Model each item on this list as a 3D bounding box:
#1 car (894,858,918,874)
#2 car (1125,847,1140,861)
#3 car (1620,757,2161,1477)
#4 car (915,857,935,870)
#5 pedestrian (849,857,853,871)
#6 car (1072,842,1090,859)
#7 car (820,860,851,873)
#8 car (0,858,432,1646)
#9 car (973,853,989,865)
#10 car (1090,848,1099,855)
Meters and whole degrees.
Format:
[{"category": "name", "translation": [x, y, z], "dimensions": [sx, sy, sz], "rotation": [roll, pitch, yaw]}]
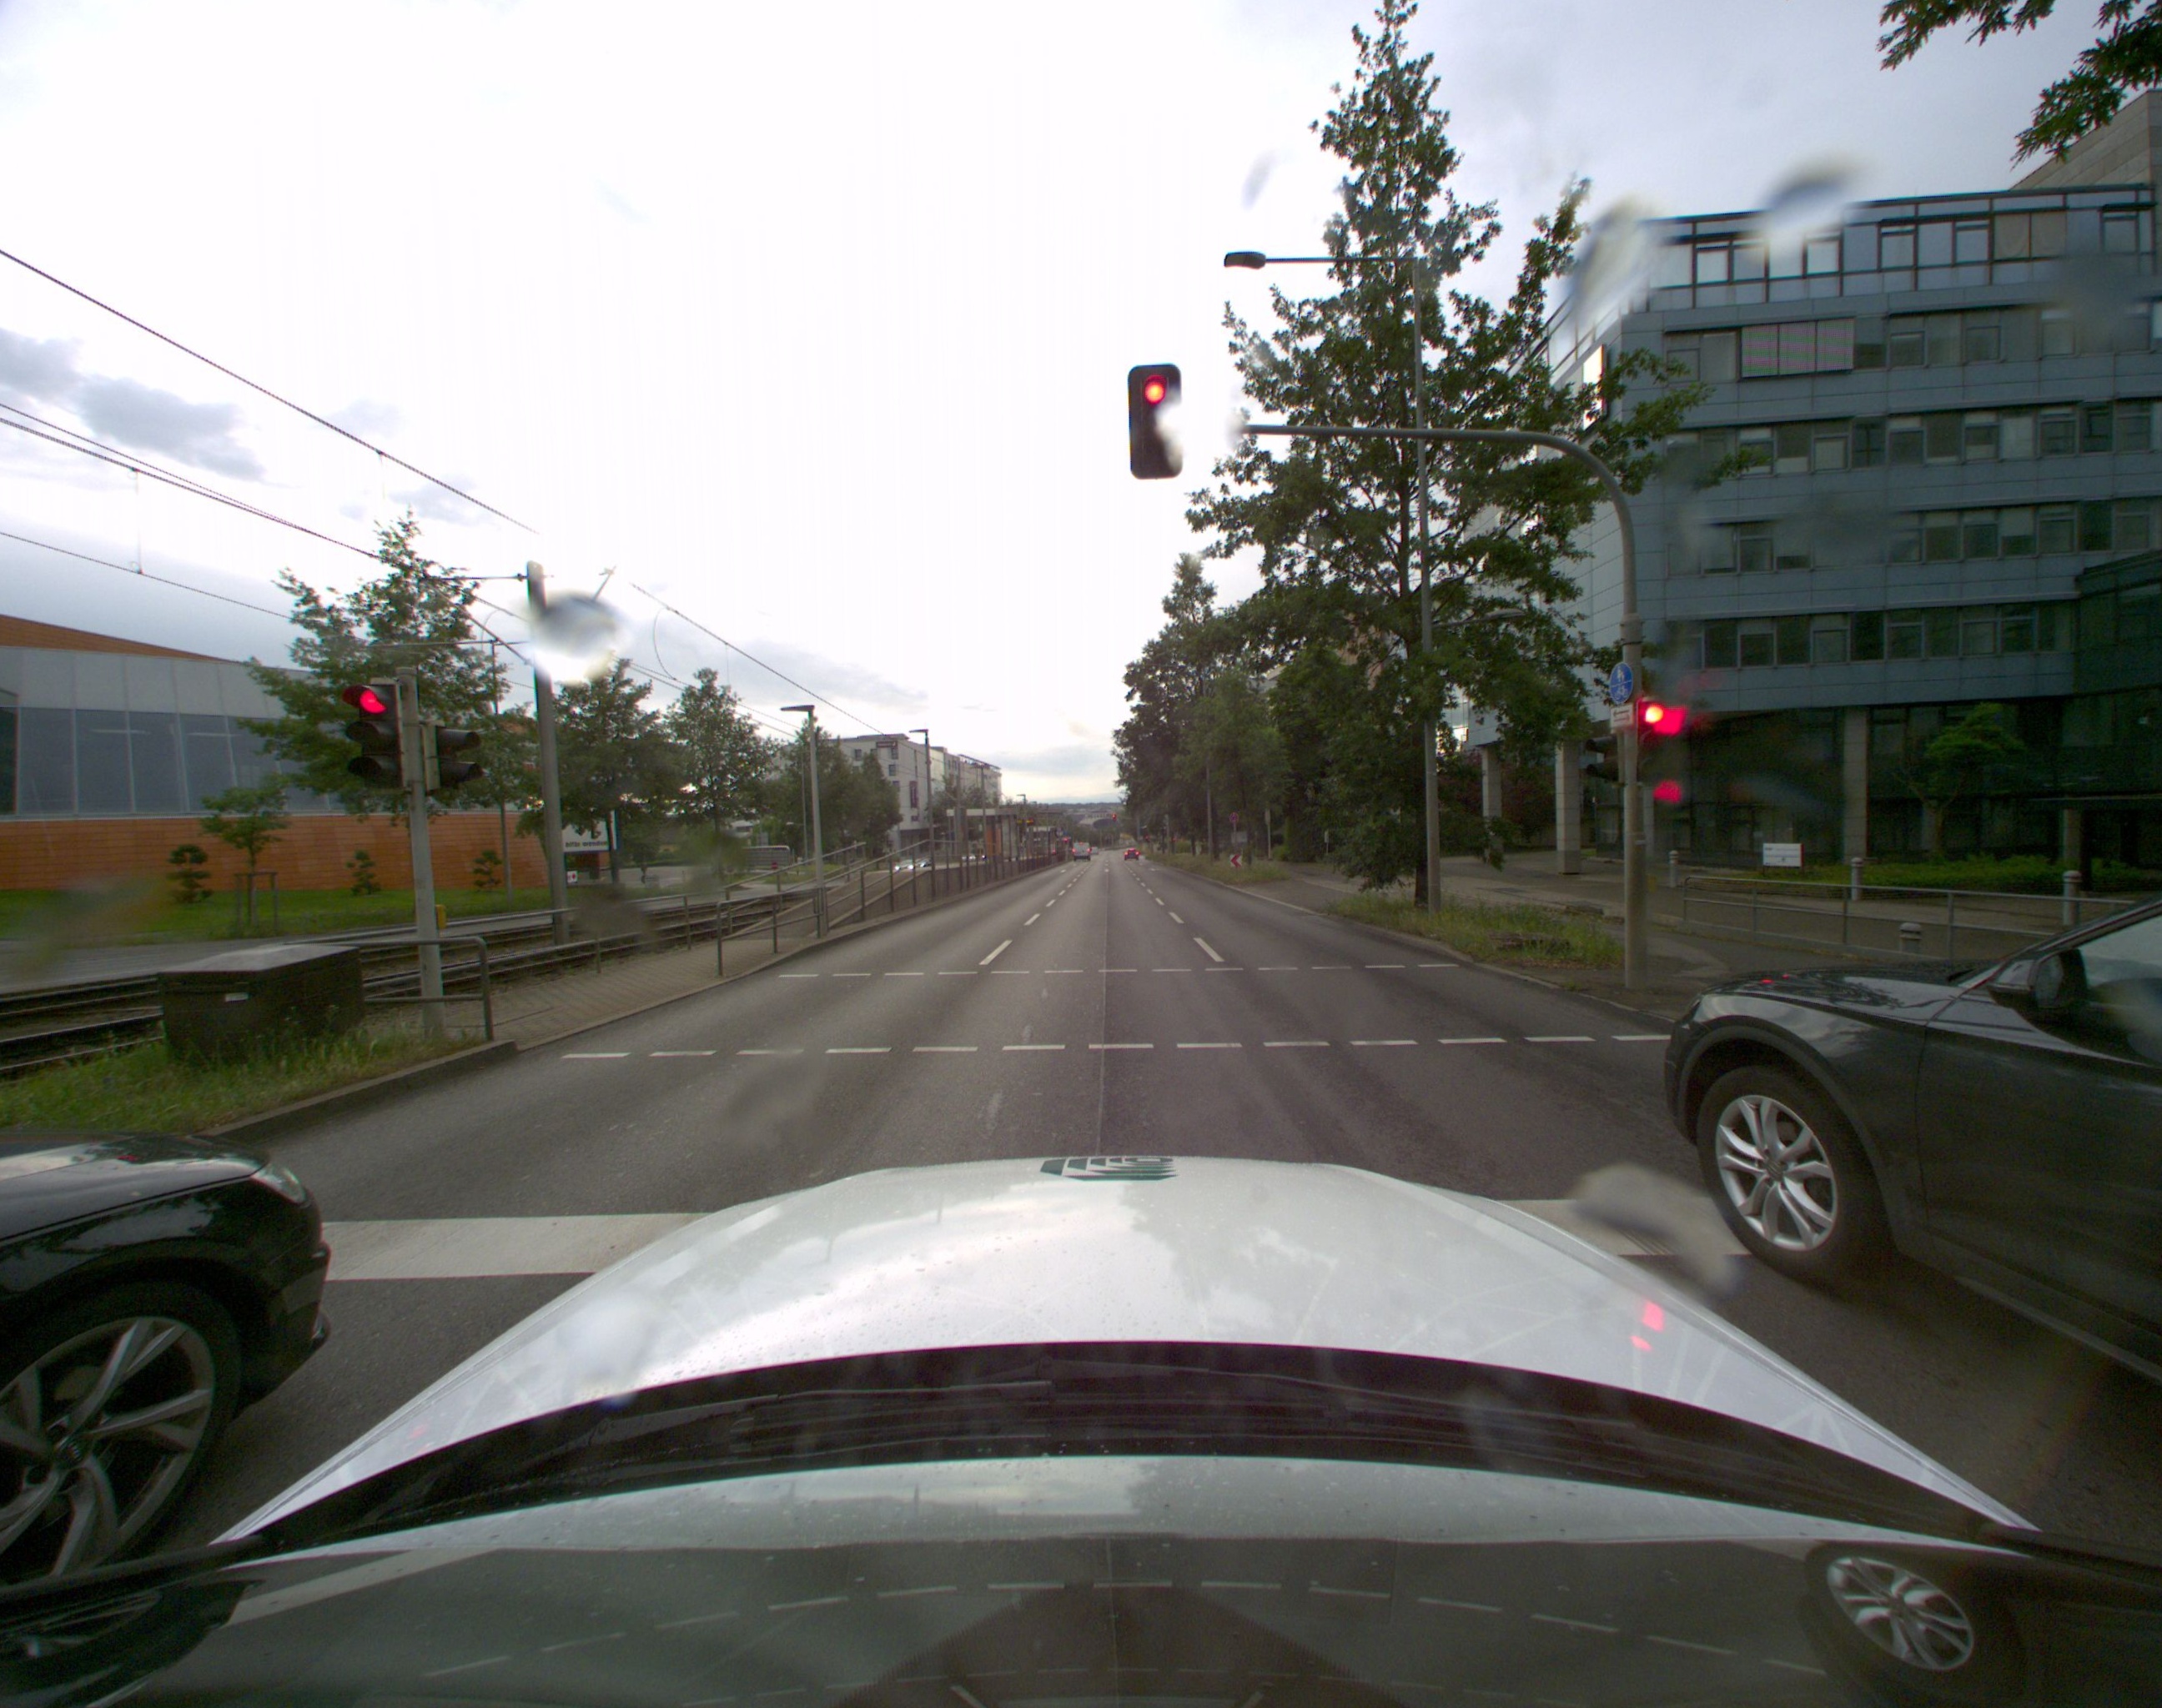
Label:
[{"category": "car", "translation": [-17.762, 1.167, 82.834], "dimensions": [1.647, 1.436, 3.875], "rotation": [-4, 0, -3]}, {"category": "car", "translation": [6.507, 0.045, 102.841], "dimensions": [1.767, 1.691, 3.847], "rotation": [-1, 0, 2]}, {"category": "car", "translation": [3.302, 0.574, 1.448], "dimensions": [1.811, 1.612, 4.472], "rotation": [-1, 0, 1]}, {"category": "car", "translation": [-17.919, 1.116, 93.745], "dimensions": [1.562, 1.378, 3.518], "rotation": [-2, 0, 0]}, {"category": "pedestrian", "translation": [-31.828, 1.399, 112.682], "dimensions": [0.473, 1.920, 0.490], "rotation": [-1, 0, 1]}, {"category": "car", "translation": [-0.025, -0.451, 102.697], "dimensions": [2.085, 2.053, 4.608], "rotation": [-1, 0, 2]}, {"category": "car", "translation": [-29.207, 1.495, 96.872], "dimensions": [3.341, 1.387, 1.440], "rotation": [-1, 0, 18]}, {"category": "car", "translation": [-2.960, 0.774, 0.254], "dimensions": [1.774, 1.466, 4.515], "rotation": [-1, 0, 2]}, {"category": "car", "translation": [-13.243, 0.692, 107.680], "dimensions": [1.651, 1.436, 3.865], "rotation": [-4, 0, -11]}, {"category": "car", "translation": [2.740, -0.558, 164.735], "dimensions": [1.776, 1.390, 4.003], "rotation": [-2, 0, 3]}]
